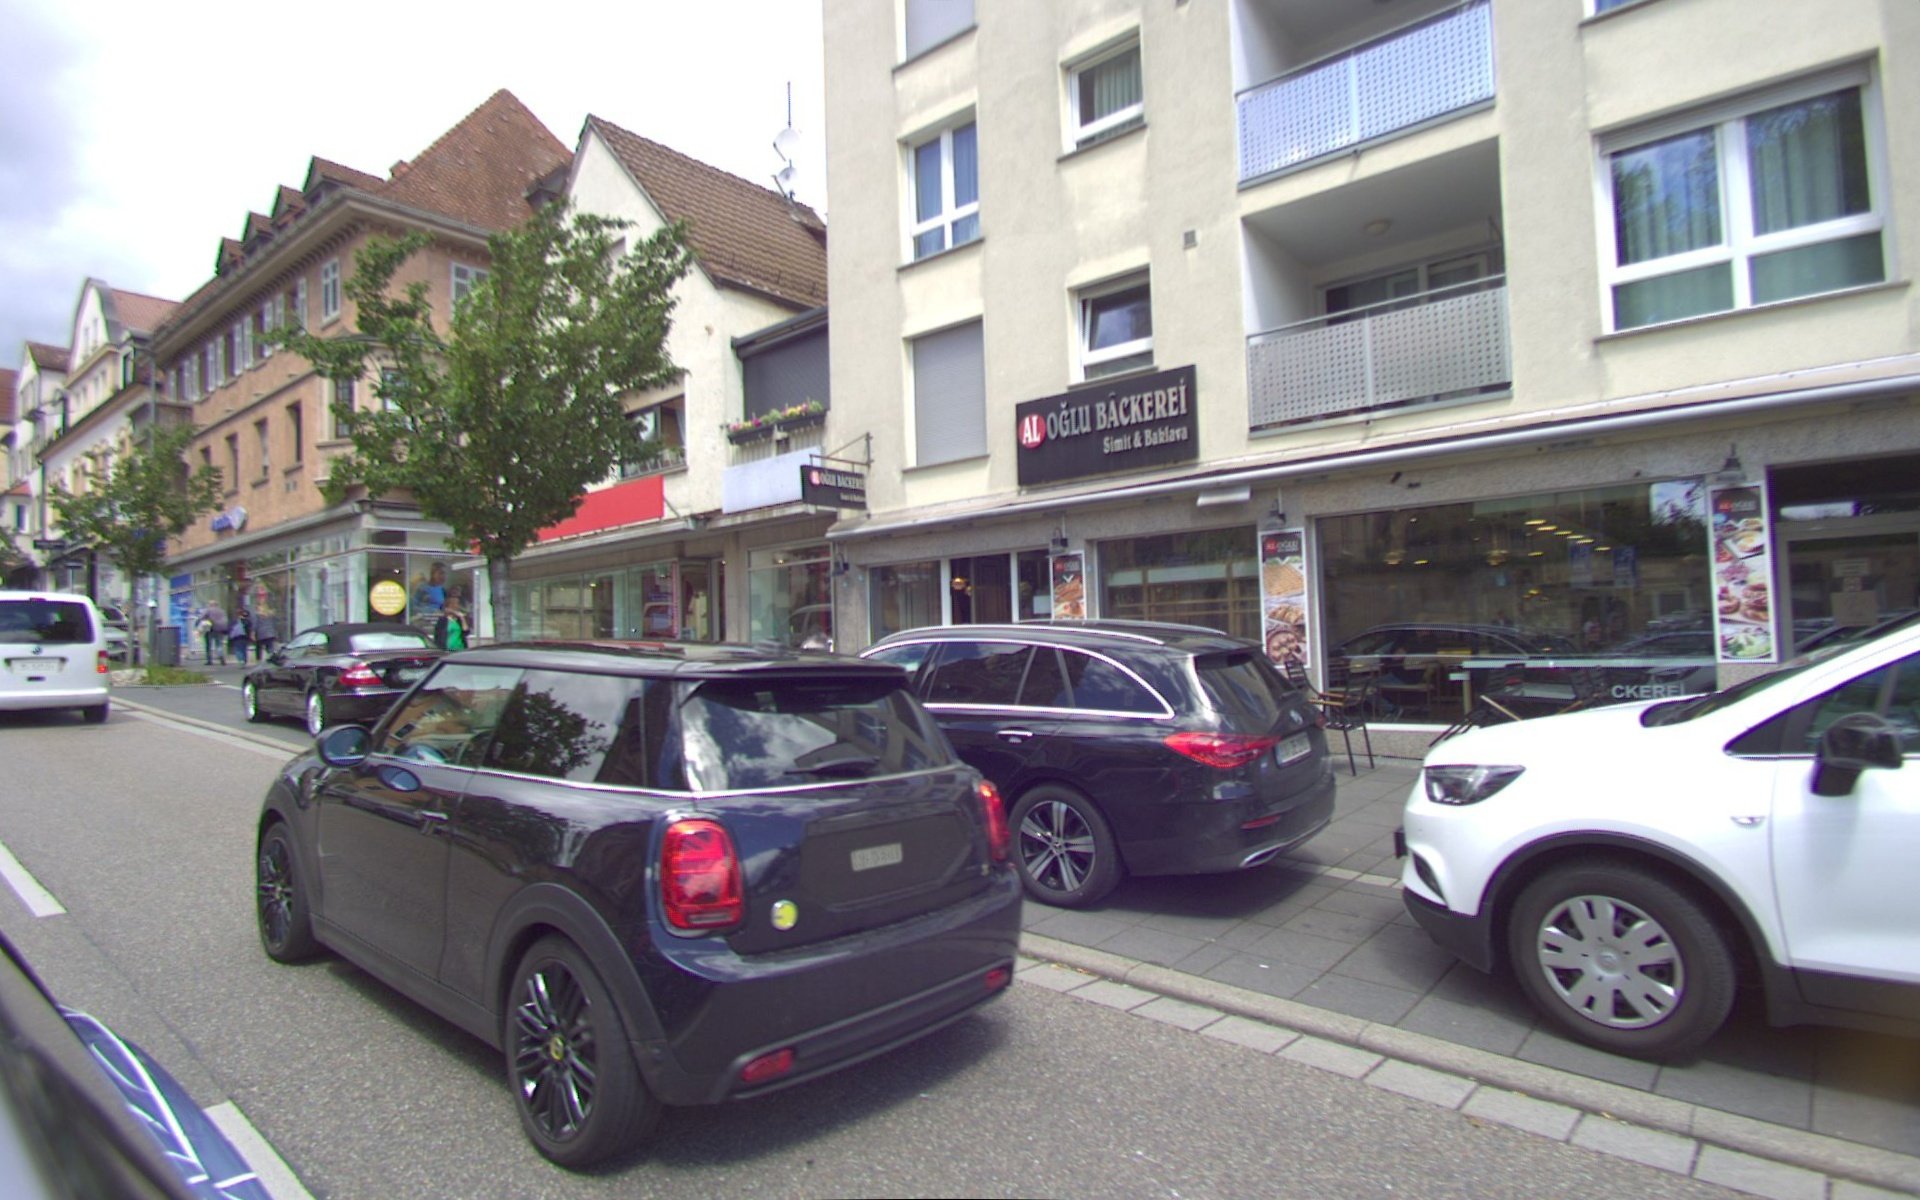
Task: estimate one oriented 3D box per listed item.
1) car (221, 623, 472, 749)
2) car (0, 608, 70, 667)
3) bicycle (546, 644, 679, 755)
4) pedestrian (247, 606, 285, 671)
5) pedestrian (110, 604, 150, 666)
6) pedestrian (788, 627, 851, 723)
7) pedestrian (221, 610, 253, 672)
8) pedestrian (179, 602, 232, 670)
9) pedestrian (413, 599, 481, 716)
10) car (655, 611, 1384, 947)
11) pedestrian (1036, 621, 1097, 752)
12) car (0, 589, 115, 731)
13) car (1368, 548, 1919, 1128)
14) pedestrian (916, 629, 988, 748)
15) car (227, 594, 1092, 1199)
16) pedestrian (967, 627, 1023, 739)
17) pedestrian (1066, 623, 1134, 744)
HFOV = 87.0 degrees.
[{"bbox_3d":[-8.472,1.044,13.810,4.441,1.403,1.640,0,-1,41],"label":"car"},{"bbox_3d":[-27.108,1.022,29.031,3.958,1.537,1.648,0,1,38],"label":"car"},{"bbox_3d":[-3.948,1.077,11.413,1.906,1.115,0.479,-1,-1,39],"label":"bicycle"},{"bbox_3d":[-17.226,0.944,25.116,0.641,1.594,0.608,0,-1,37],"label":"pedestrian"},{"bbox_3d":[-21.819,0.914,26.609,0.650,1.585,0.621,-1,2,39],"label":"pedestrian"},{"bbox_3d":[-1.909,1.001,13.746,0.598,1.256,0.589,-1,-1,40],"label":"pedestrian"},{"bbox_3d":[-17.637,0.978,24.677,0.527,1.489,0.491,0,-1,37],"label":"pedestrian"},{"bbox_3d":[-19.226,0.906,25.801,0.905,1.679,0.862,0,-1,37],"label":"pedestrian"},{"bbox_3d":[-7.994,0.871,15.770,0.777,1.774,0.654,0,-1,38],"label":"pedestrian"},{"bbox_3d":[0.155,0.828,6.599,4.508,1.462,1.822,-1,0,37],"label":"car"},{"bbox_3d":[1.099,0.873,10.448,0.453,1.310,0.417,-2,-2,40],"label":"pedestrian"},{"bbox_3d":[-13.746,0.806,14.550,4.209,1.816,1.728,-1,-3,41],"label":"car"},{"bbox_3d":[3.679,0.662,3.153,4.133,1.659,1.648,-2,-1,42],"label":"car"},{"bbox_3d":[-0.086,0.978,11.416,0.598,1.277,0.544,-1,-1,40],"label":"pedestrian"},{"bbox_3d":[-1.434,0.751,4.023,3.627,1.399,1.590,-1,-3,41],"label":"car"},{"bbox_3d":[0.410,0.951,11.815,0.499,1.259,0.391,-2,-2,40],"label":"pedestrian"},{"bbox_3d":[1.517,0.885,10.960,0.566,1.259,0.422,-2,-2,40],"label":"pedestrian"}]
